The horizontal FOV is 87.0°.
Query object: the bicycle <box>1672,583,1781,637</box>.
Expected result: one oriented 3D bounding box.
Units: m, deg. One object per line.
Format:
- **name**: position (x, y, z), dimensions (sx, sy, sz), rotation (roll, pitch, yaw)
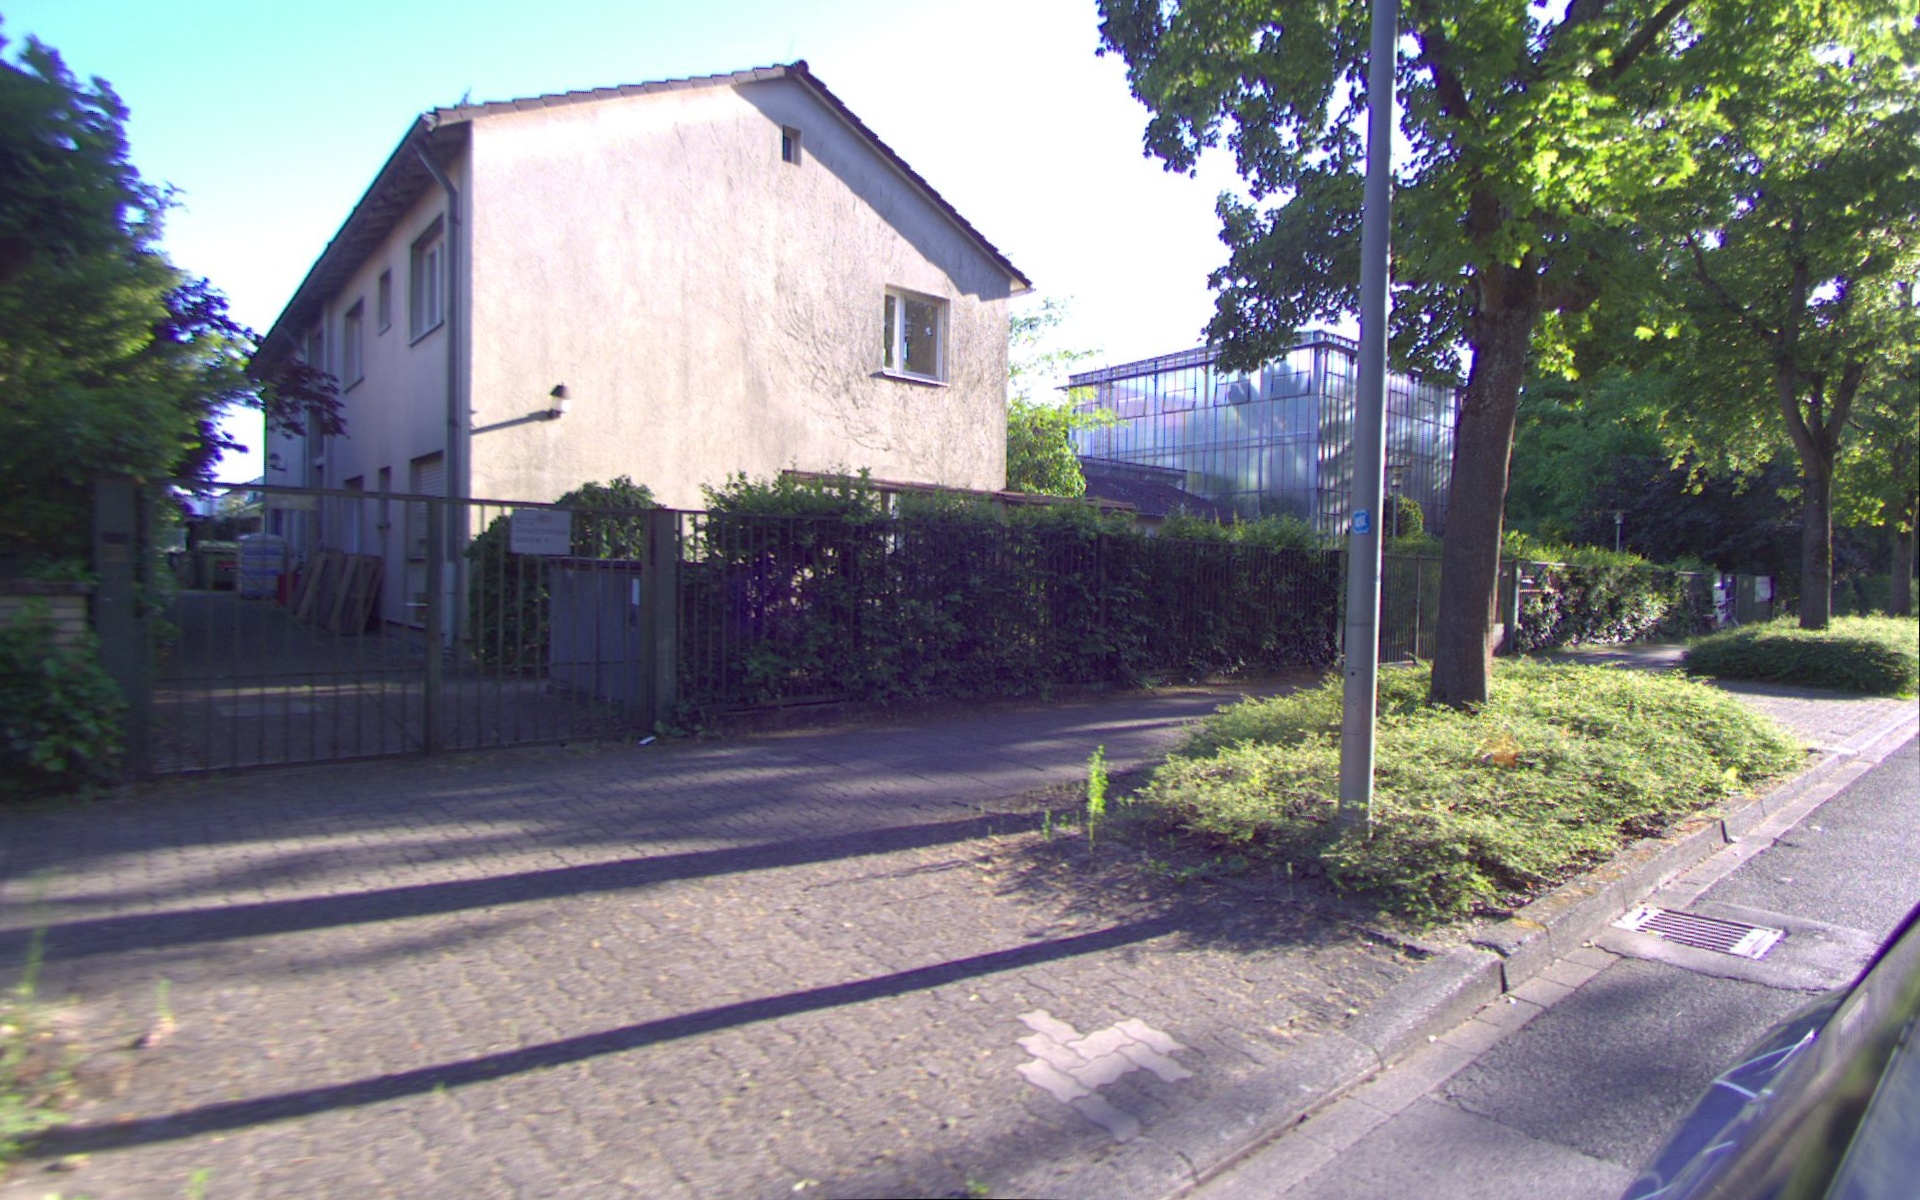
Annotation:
- **bicycle**: position (18.928, 0.247, 24.991), dimensions (2.277, 1.214, 0.889), rotation (1, 3, -16)
